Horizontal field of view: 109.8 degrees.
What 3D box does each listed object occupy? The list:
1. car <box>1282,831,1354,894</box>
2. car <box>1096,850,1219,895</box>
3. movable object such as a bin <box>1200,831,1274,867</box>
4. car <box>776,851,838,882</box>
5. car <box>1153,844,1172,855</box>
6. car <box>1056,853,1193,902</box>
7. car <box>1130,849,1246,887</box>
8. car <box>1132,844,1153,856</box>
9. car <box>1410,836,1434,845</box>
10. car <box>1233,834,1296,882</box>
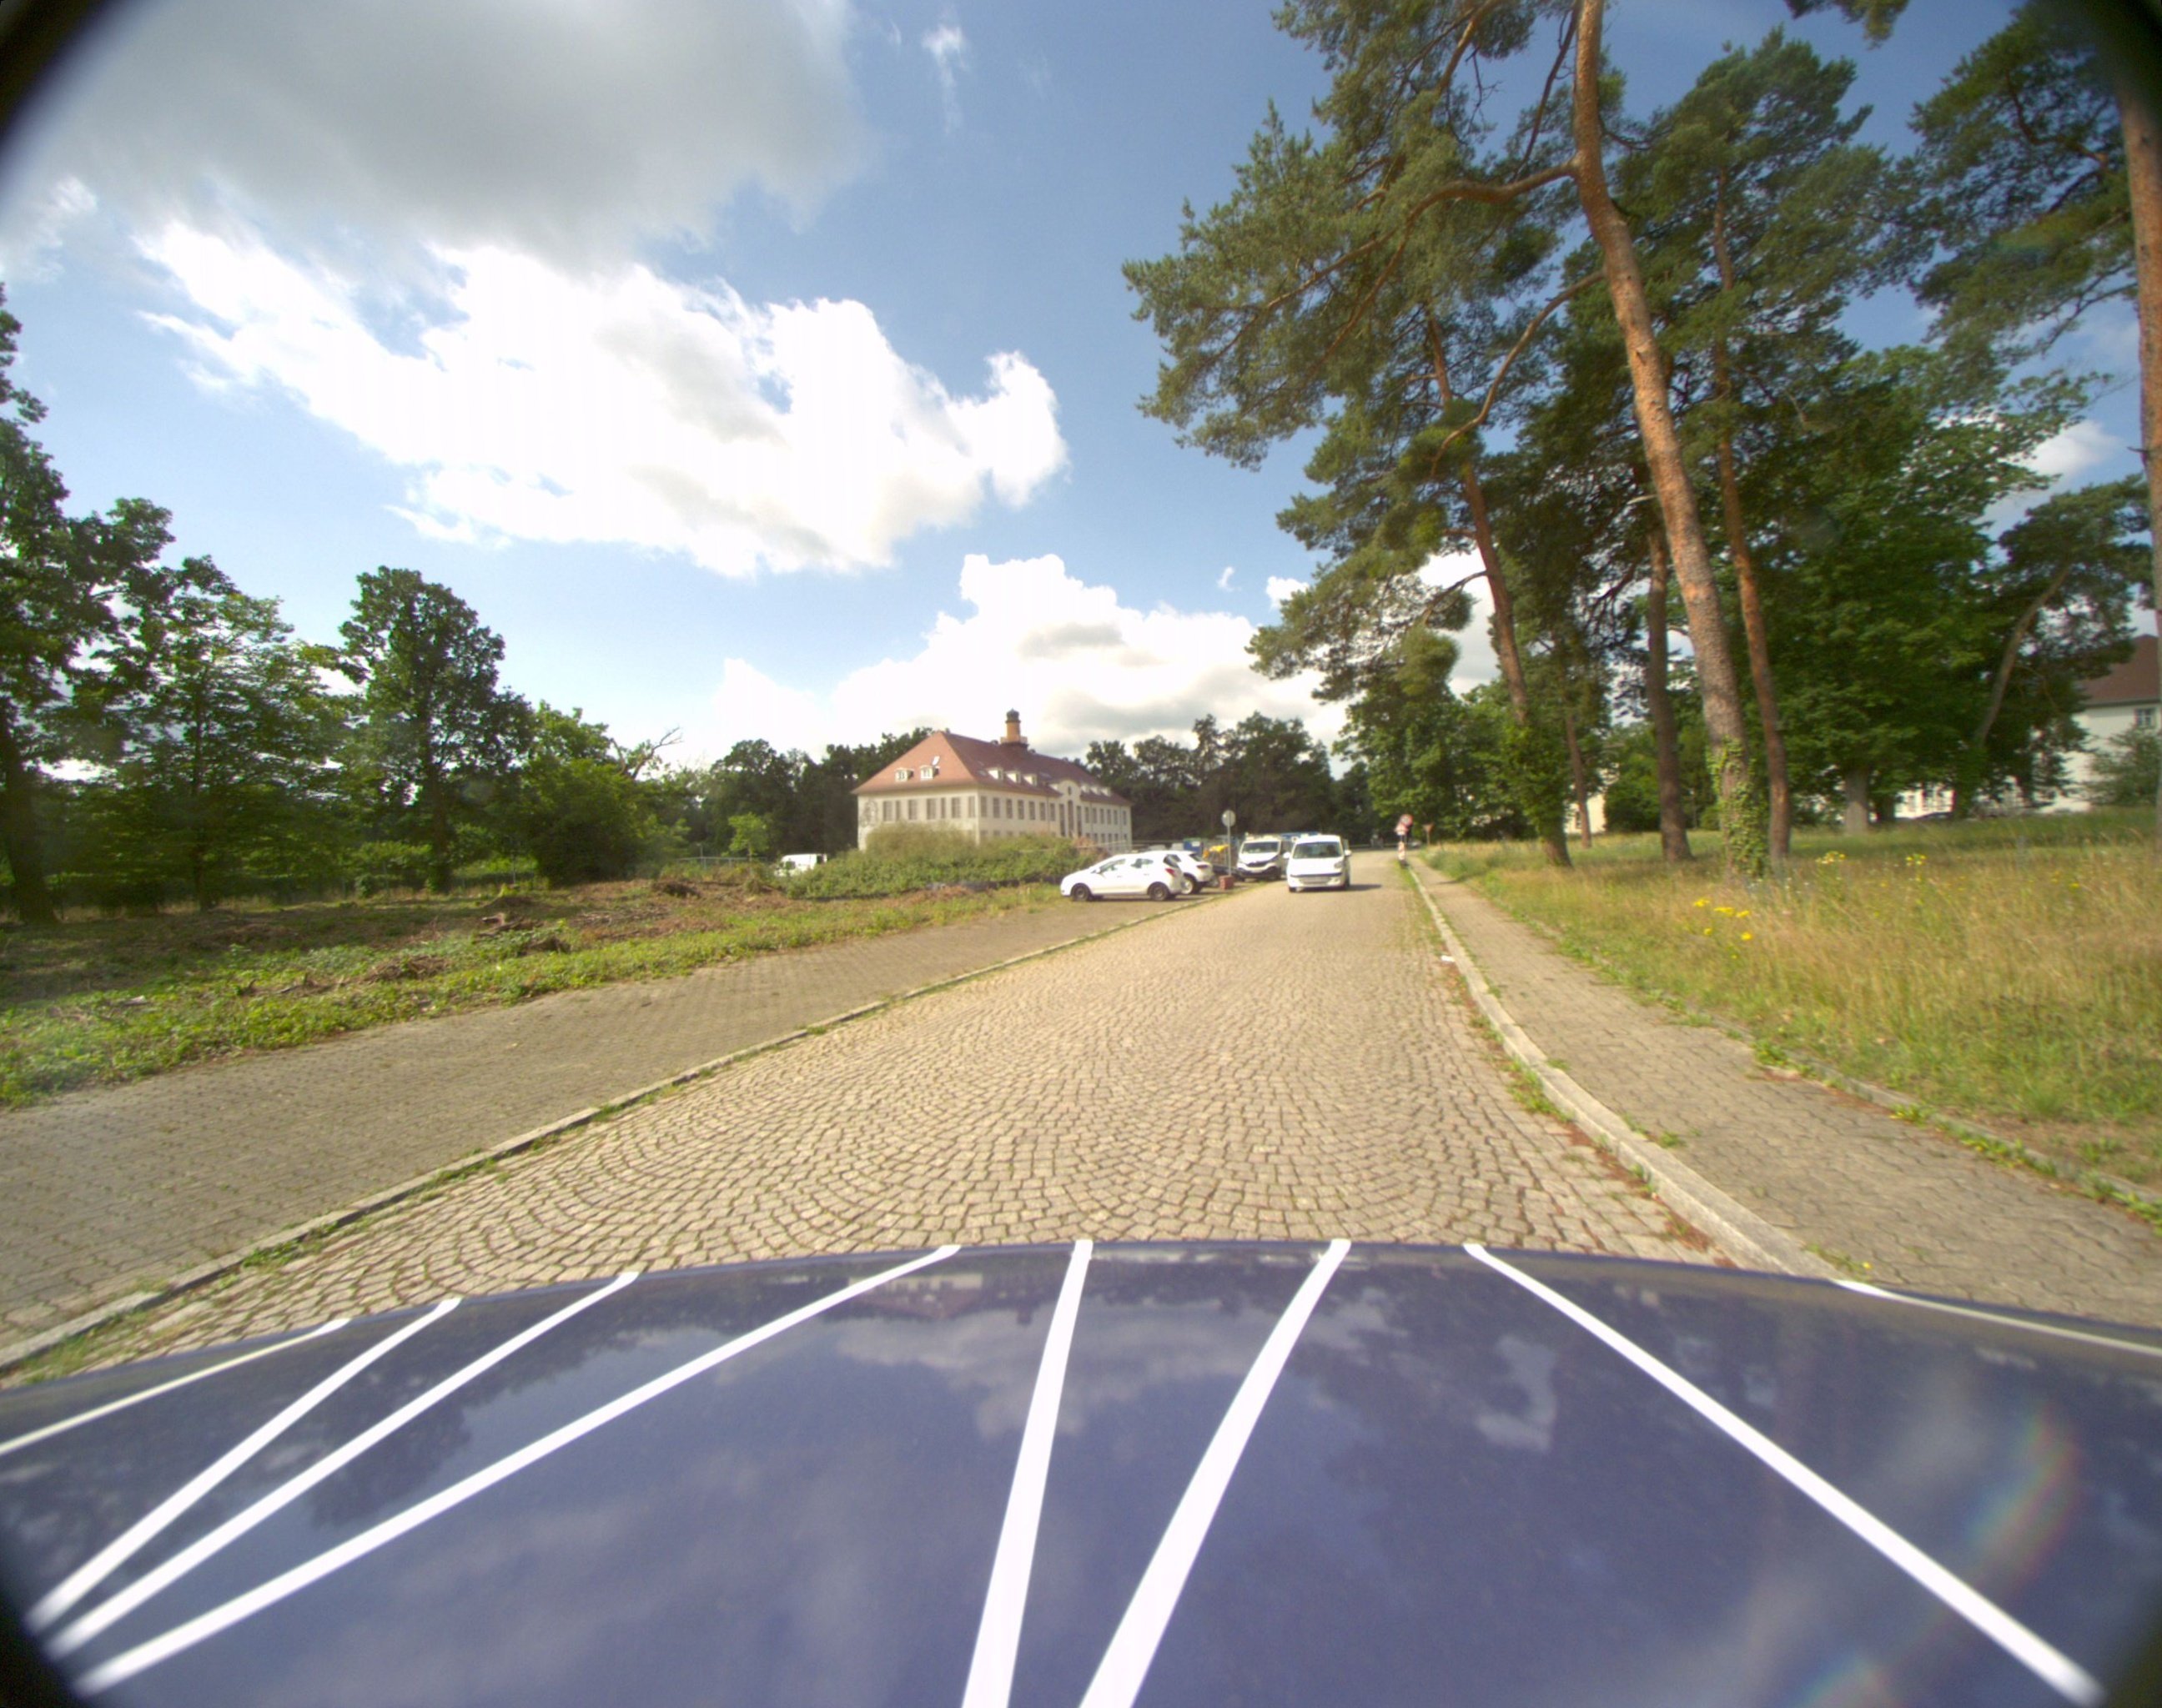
[{"bbox_3d":[8.046,0.241,25.513,1.836,1.858,4.837,-3,0,22],"label":"car"},{"bbox_3d":[2.738,0.639,27.072,3.991,1.498,1.749,-1,1,20],"label":"car"},{"bbox_3d":[11.416,-0.409,55.439,5.666,2.507,2.144,-2,0,-39],"label":"movable object such as a bin"},{"bbox_3d":[-24.844,1.140,68.924,5.424,2.576,2.251,-2,1,31],"label":"car"},{"bbox_3d":[13.100,-0.751,121.643,1.799,1.674,4.045,-2,1,24],"label":"car"},{"bbox_3d":[1.409,0.733,24.370,4.046,1.455,1.706,-1,1,20],"label":"car"},{"bbox_3d":[4.431,0.569,31.310,4.459,1.467,1.747,-1,1,18],"label":"car"},{"bbox_3d":[9.967,-0.653,122.838,1.881,1.718,4.714,-2,1,24],"label":"car"},{"bbox_3d":[67.710,-2.641,150.914,4.077,1.634,1.769,-2,1,22],"label":"car"},{"bbox_3d":[8.816,0.109,36.164,1.916,2.041,5.687,-2,1,23],"label":"car"}]
